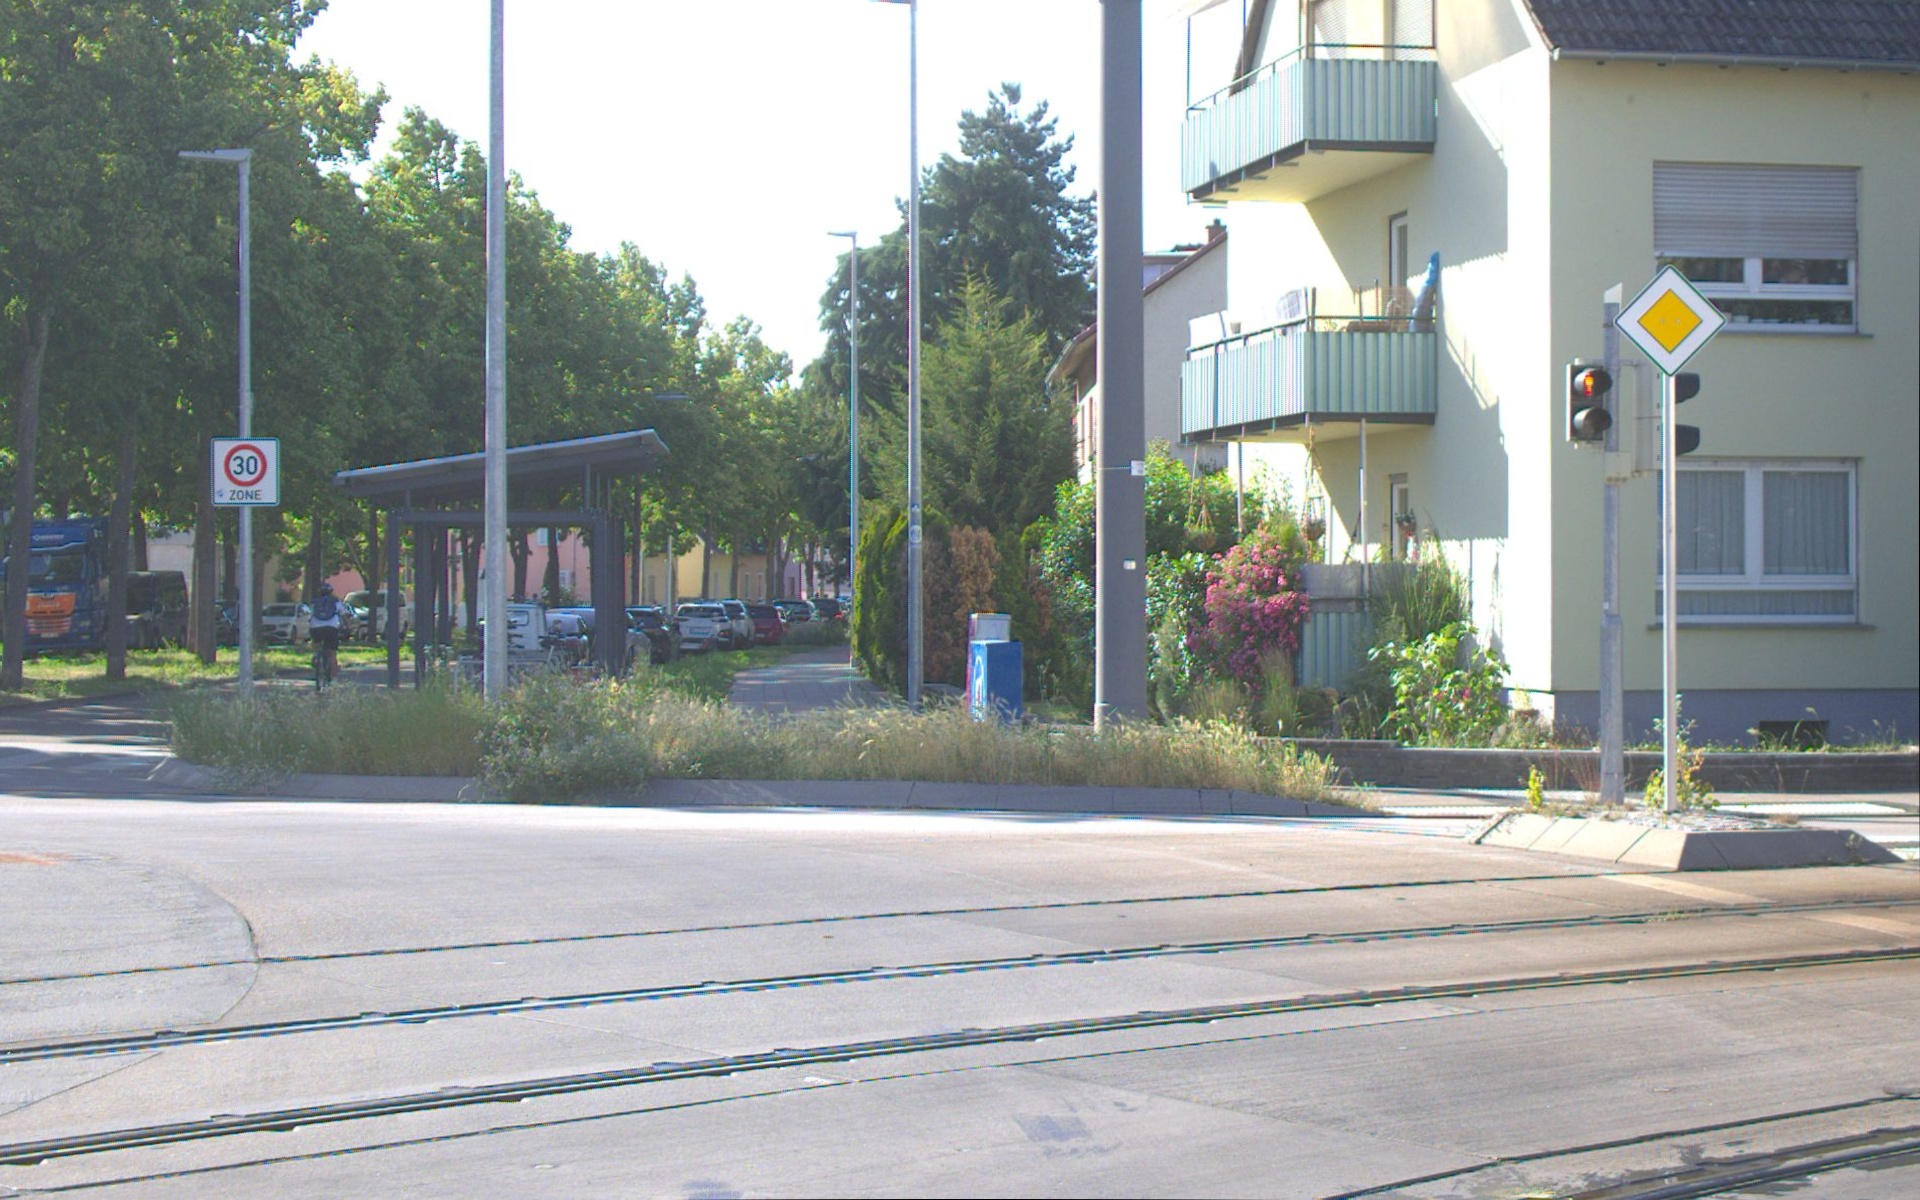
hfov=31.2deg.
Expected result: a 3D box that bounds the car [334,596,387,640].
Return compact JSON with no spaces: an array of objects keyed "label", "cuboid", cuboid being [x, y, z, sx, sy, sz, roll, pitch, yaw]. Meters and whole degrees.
[{"label":"car","cuboid":[-23.282,0.685,133.647,1.647,1.643,3.569,2,0,-4]}]

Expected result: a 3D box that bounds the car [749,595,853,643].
[{"label":"car","cuboid":[-5.497,0.644,118.874,3.516,1.528,1.578,2,0,-4]}]

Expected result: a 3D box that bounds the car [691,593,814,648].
[{"label":"car","cuboid":[-6.009,0.581,99.385,3.478,1.488,1.552,2,0,-4]}]

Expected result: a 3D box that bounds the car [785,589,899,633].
[{"label":"car","cuboid":[-3.743,0.355,109.018,3.516,1.275,1.578,2,0,-4]}]

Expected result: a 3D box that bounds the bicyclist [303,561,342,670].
[{"label":"bicyclist","cuboid":[-10.198,0.248,55.006,0.602,1.708,0.544,0,-4,-11]}]

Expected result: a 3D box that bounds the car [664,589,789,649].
[{"label":"car","cuboid":[-6.413,0.519,94.597,3.359,1.528,1.523,2,0,-4]}]

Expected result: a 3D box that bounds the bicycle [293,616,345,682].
[{"label":"bicycle","cuboid":[-10.207,0.780,54.710,0.766,1.033,1.534,1,-1,-11]}]

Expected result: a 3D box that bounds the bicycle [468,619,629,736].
[{"label":"bicycle","cuboid":[-4.433,0.829,37.038,1.665,1.204,0.689,2,0,-7]}]

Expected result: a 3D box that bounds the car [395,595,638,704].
[{"label":"car","cuboid":[-6.709,0.735,52.241,3.516,1.528,1.577,2,0,-3]}]

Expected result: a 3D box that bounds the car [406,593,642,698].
[{"label":"car","cuboid":[-6.817,0.707,53.986,3.516,1.528,1.577,2,0,-3]}]

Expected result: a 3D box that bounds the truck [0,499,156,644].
[{"label":"truck","cuboid":[-25.629,-0.829,99.977,3.069,3.979,8.009,2,0,-4]}]

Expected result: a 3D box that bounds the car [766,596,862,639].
[{"label":"car","cuboid":[-5.503,0.655,129.531,3.516,1.528,1.578,2,0,-4]}]

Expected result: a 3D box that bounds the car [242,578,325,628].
[{"label":"car","cuboid":[-23.756,0.111,120.903,1.993,1.694,4.218,2,0,1]}]

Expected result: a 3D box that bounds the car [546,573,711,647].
[{"label":"car","cuboid":[-7.320,0.216,76.144,3.516,1.528,1.577,2,0,-3]}]

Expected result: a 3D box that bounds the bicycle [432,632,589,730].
[{"label":"bicycle","cuboid":[-4.997,0.899,38.270,1.689,1.024,0.599,2,0,-7]}]

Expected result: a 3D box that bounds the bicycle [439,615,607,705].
[{"label":"bicycle","cuboid":[-5.291,0.727,41.626,1.972,1.024,0.689,2,0,-7]}]

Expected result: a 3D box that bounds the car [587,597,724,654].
[{"label":"car","cuboid":[-7.996,0.673,90.414,3.441,1.389,1.237,2,0,0]}]

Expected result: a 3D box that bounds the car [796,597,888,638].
[{"label":"car","cuboid":[-4.663,0.687,135.684,3.516,1.528,1.578,2,0,-4]}]

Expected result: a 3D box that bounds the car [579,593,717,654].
[{"label":"car","cuboid":[-7.995,0.594,88.336,3.412,1.528,1.525,0,0,0]}]

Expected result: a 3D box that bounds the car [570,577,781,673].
[{"label":"car","cuboid":[-4.858,0.430,59.012,3.516,1.528,1.577,2,0,-3]}]

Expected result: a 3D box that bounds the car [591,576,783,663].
[{"label":"car","cuboid":[-5.126,0.368,64.869,3.516,1.528,1.577,2,0,-3]}]

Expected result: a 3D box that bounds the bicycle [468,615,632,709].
[{"label":"bicycle","cuboid":[-4.749,0.712,39.818,1.840,1.024,0.689,2,0,-7]}]

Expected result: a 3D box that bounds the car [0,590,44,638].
[{"label":"car","cuboid":[-34.647,0.484,124.640,1.993,1.694,4.219,0,0,-4]}]

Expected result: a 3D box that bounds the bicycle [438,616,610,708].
[{"label":"bicycle","cuboid":[-5.156,0.728,40.682,1.972,1.024,0.696,2,0,-7]}]

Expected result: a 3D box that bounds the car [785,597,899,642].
[{"label":"car","cuboid":[-3.754,0.619,108.989,3.516,1.291,1.578,2,0,-4]}]
